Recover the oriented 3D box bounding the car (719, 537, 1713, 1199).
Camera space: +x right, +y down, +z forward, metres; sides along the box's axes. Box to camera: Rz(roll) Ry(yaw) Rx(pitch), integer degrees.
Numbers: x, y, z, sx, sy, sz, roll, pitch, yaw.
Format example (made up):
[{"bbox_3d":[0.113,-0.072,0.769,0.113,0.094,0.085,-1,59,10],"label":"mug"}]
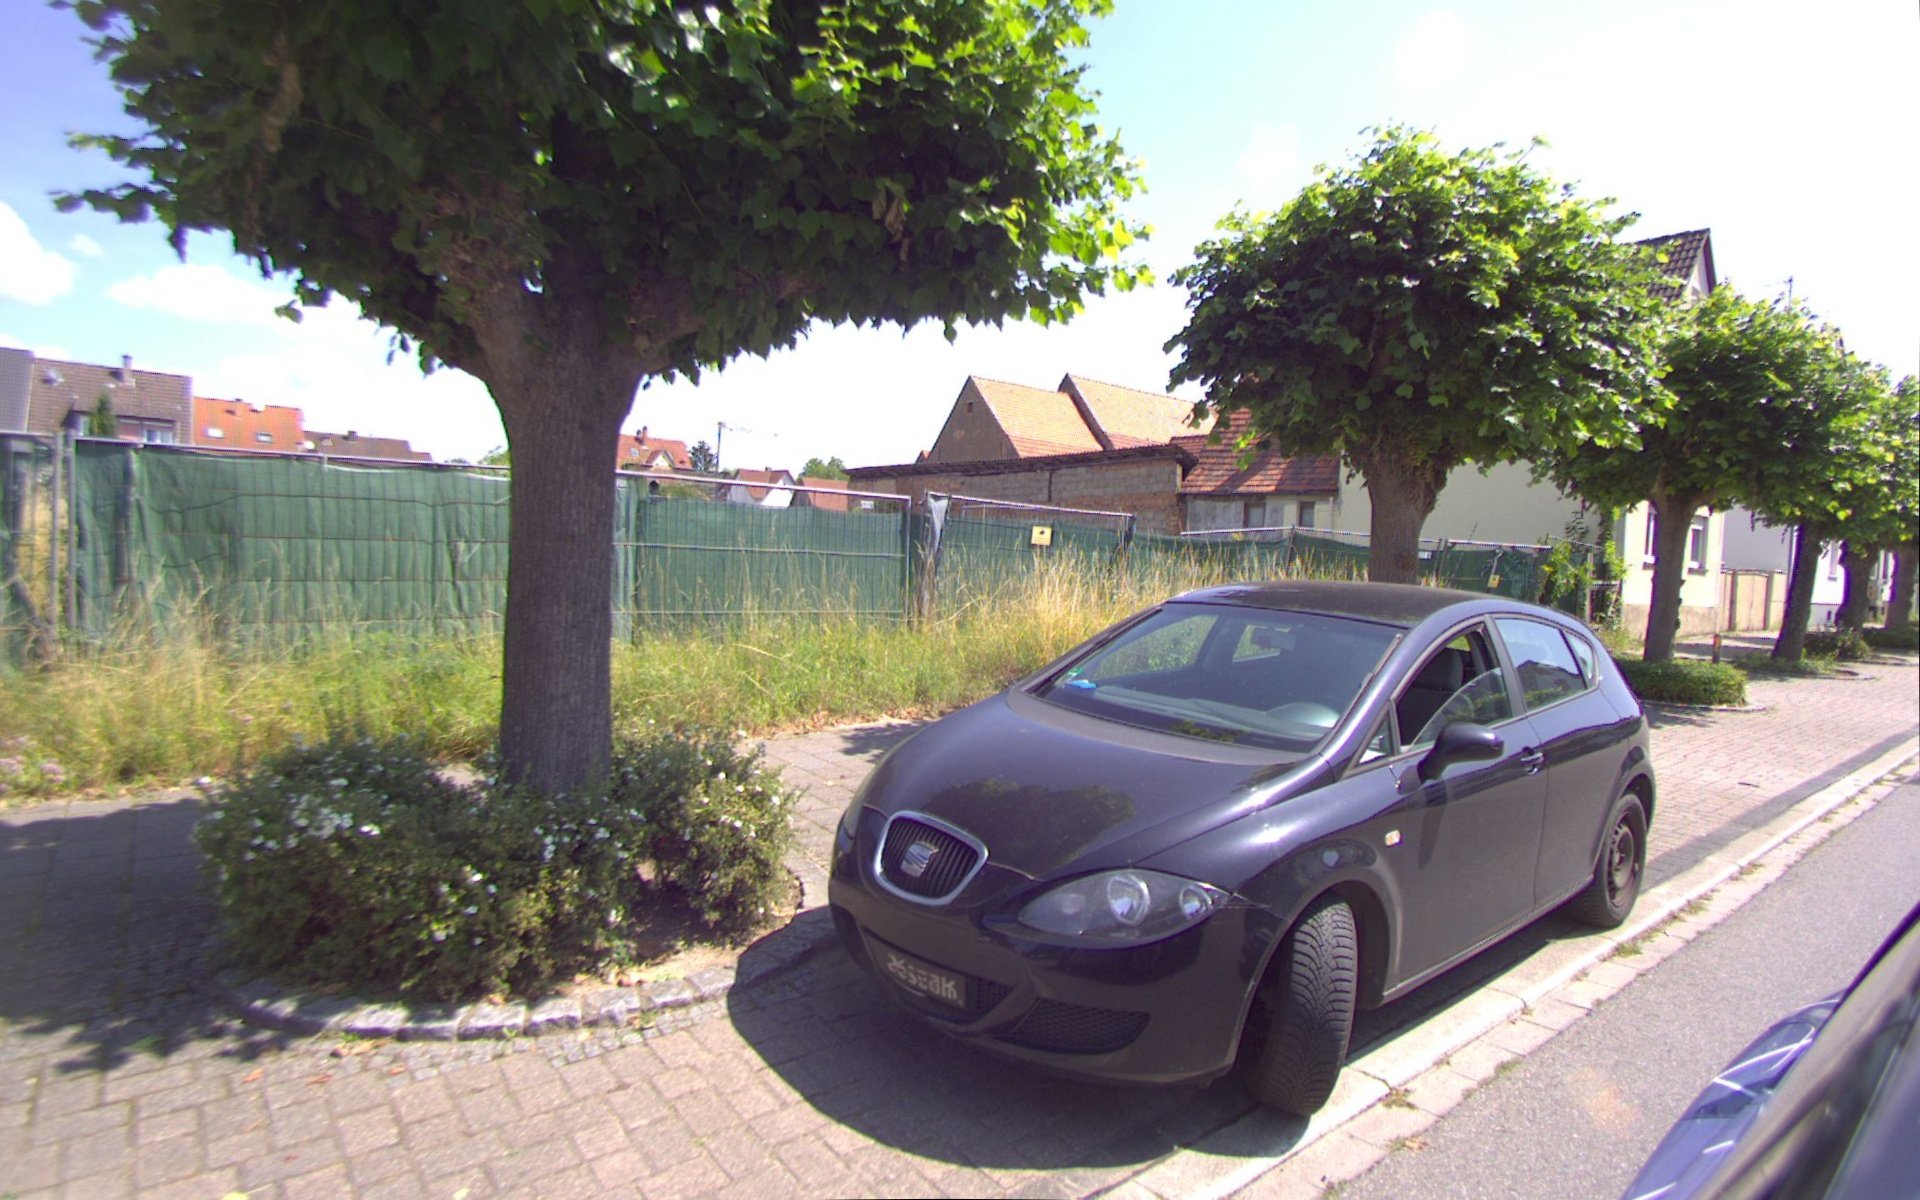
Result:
[{"bbox_3d":[1.295,0.592,4.085,3.984,1.449,1.829,0,5,-40],"label":"car"}]
